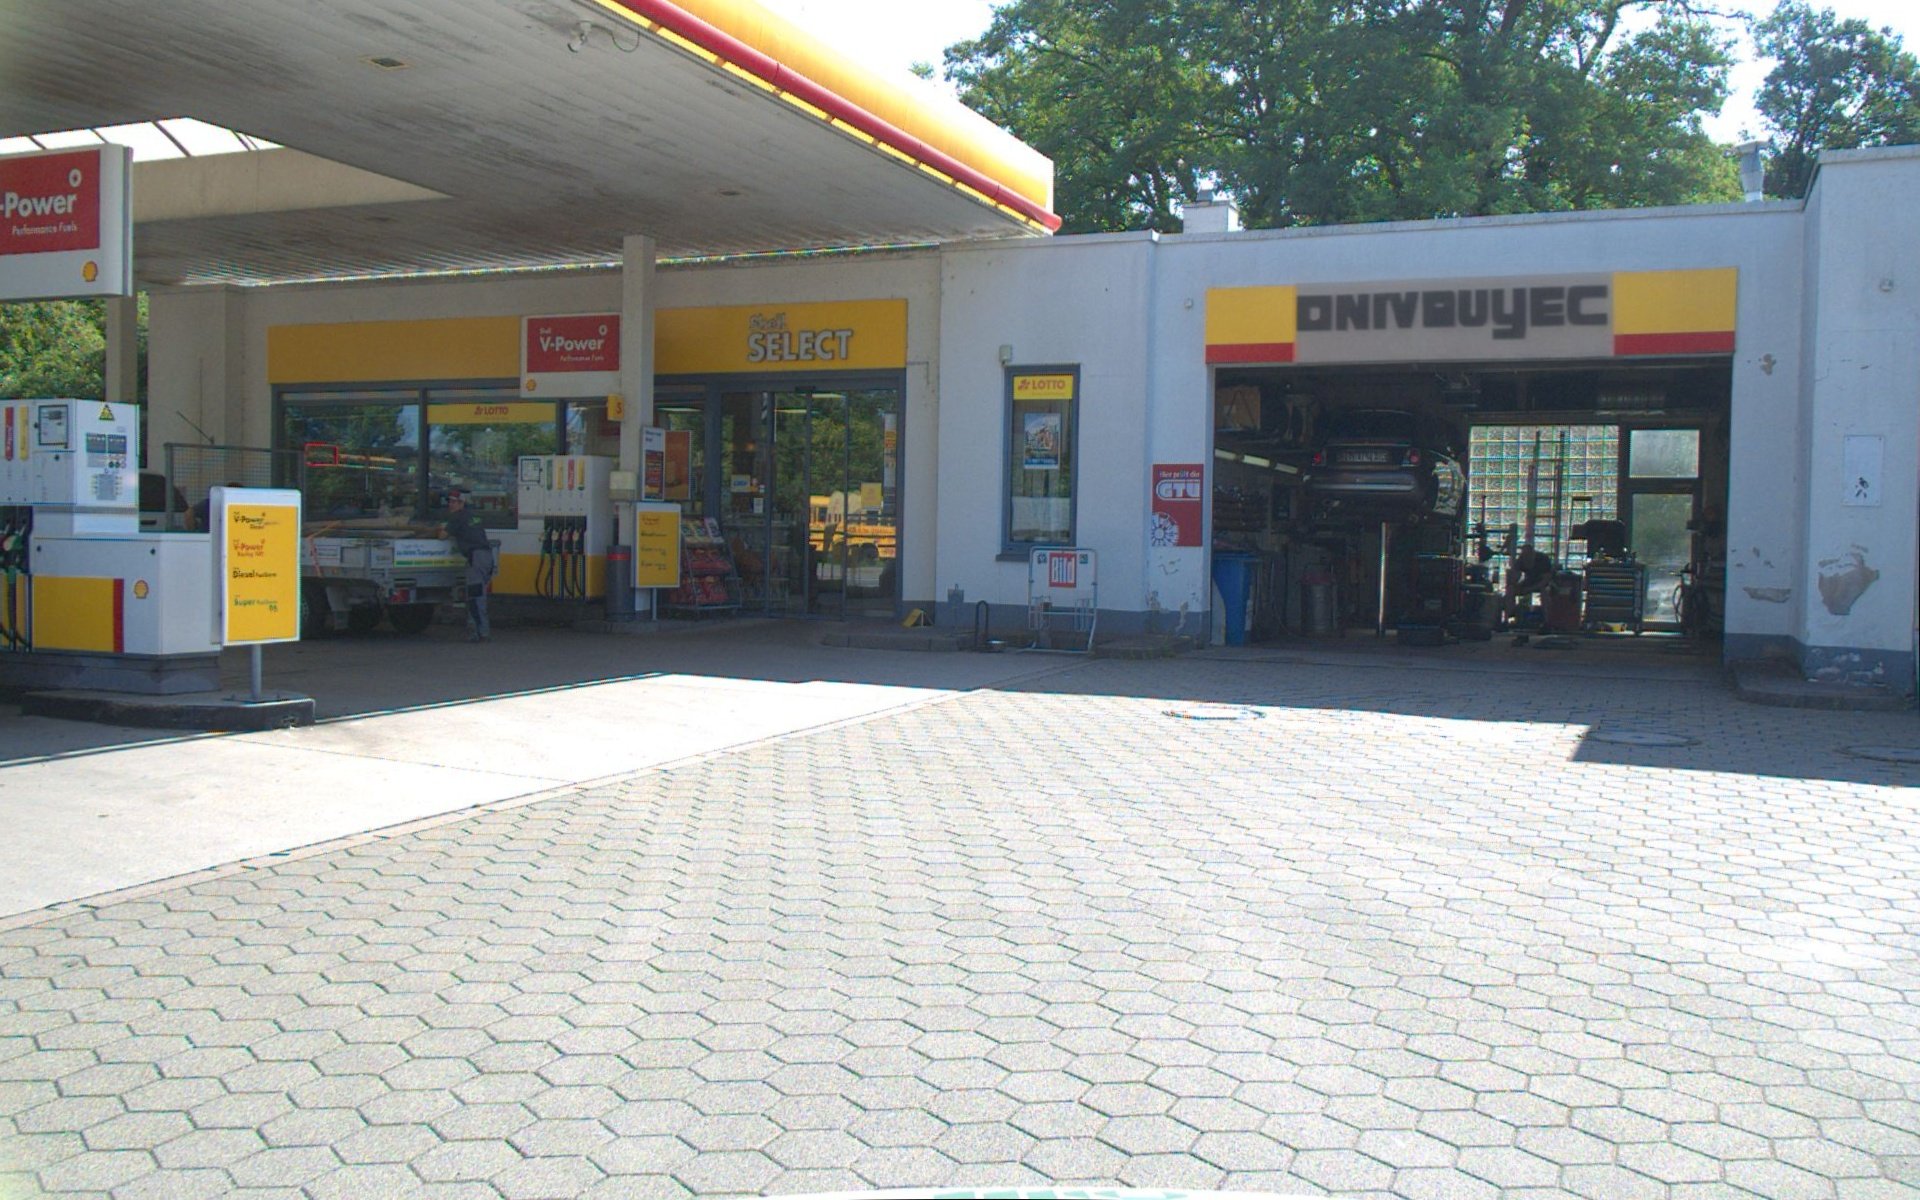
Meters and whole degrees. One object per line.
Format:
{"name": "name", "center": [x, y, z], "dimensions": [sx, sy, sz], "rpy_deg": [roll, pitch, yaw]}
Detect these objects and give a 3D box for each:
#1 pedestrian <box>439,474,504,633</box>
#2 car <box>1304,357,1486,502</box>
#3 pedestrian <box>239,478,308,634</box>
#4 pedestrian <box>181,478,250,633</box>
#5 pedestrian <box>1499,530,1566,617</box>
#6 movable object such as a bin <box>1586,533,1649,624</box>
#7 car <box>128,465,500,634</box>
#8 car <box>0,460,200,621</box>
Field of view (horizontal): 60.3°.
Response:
{"name": "pedestrian", "center": [-5.314, -0.512, 18.014], "dimensions": [0.489, 1.697, 0.475], "rpy_deg": [2, 2, 25]}
{"name": "car", "center": [5.814, -2.155, 21.817], "dimensions": [1.614, 1.512, 3.997], "rpy_deg": [1, 1, 25]}
{"name": "pedestrian", "center": [-7.278, -0.472, 17.543], "dimensions": [0.465, 1.621, 0.500], "rpy_deg": [2, 2, 27]}
{"name": "pedestrian", "center": [-8.089, -0.490, 17.965], "dimensions": [0.465, 1.659, 0.500], "rpy_deg": [2, 2, 27]}
{"name": "pedestrian", "center": [8.173, -0.380, 23.586], "dimensions": [0.845, 1.218, 0.743], "rpy_deg": [1, 0, 22]}
{"name": "movable object such as a bin", "center": [9.292, -0.301, 23.367], "dimensions": [0.781, 1.258, 0.544], "rpy_deg": [1, 0, 25]}
{"name": "car", "center": [-7.371, -0.593, 18.858], "dimensions": [3.910, 1.757, 1.832], "rpy_deg": [1, 2, 27]}
{"name": "car", "center": [-12.140, -0.787, 20.988], "dimensions": [4.668, 1.869, 1.857], "rpy_deg": [2, 2, 22]}
